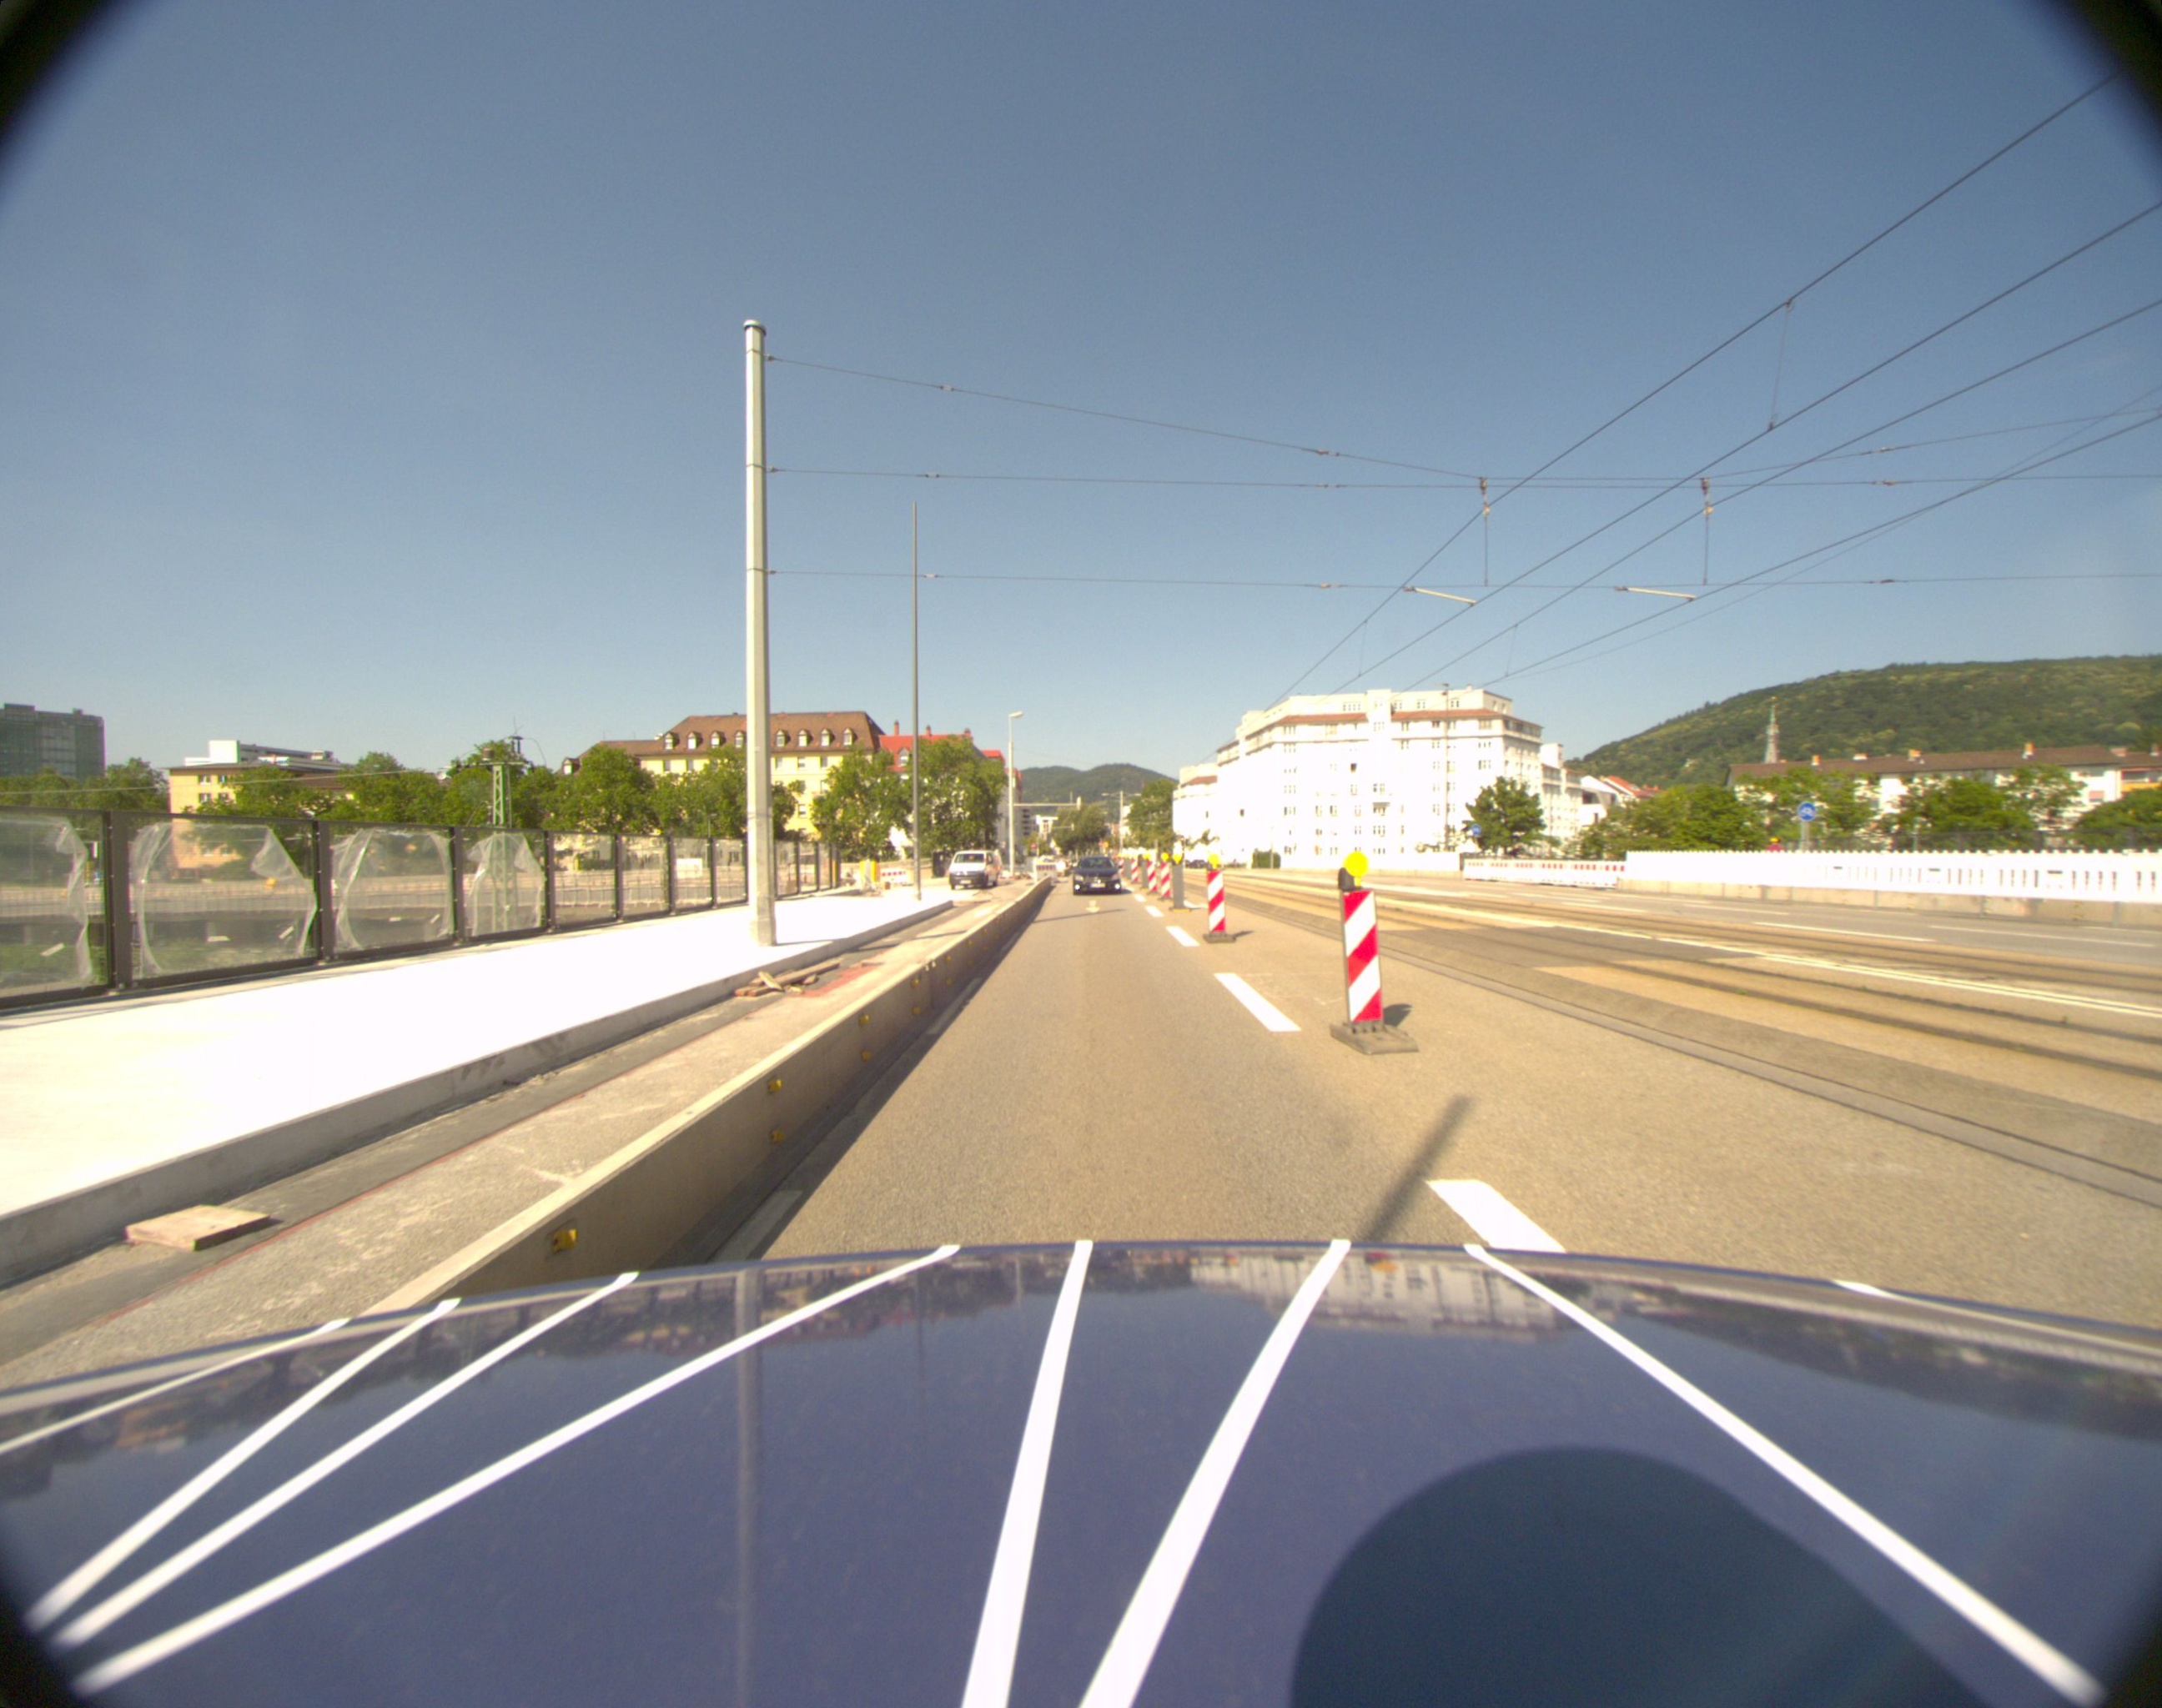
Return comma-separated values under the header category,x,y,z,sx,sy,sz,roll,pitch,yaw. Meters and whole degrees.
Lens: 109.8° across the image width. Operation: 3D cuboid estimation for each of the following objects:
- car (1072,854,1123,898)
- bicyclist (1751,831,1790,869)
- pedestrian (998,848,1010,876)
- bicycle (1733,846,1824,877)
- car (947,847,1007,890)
category,x,y,z,sx,sy,sz,roll,pitch,yaw
car,0.610,0.773,28.492,1.698,1.388,4.362,-2,1,1
bicyclist,28.135,-0.156,31.012,0.858,1.510,0.817,-2,1,0
pedestrian,-5.475,0.584,53.902,0.761,1.973,0.843,1,2,1
bicycle,28.135,0.275,30.751,0.858,1.188,3.071,-2,1,0
car,-5.370,0.721,40.238,1.938,2.078,6.471,-1,0,3
